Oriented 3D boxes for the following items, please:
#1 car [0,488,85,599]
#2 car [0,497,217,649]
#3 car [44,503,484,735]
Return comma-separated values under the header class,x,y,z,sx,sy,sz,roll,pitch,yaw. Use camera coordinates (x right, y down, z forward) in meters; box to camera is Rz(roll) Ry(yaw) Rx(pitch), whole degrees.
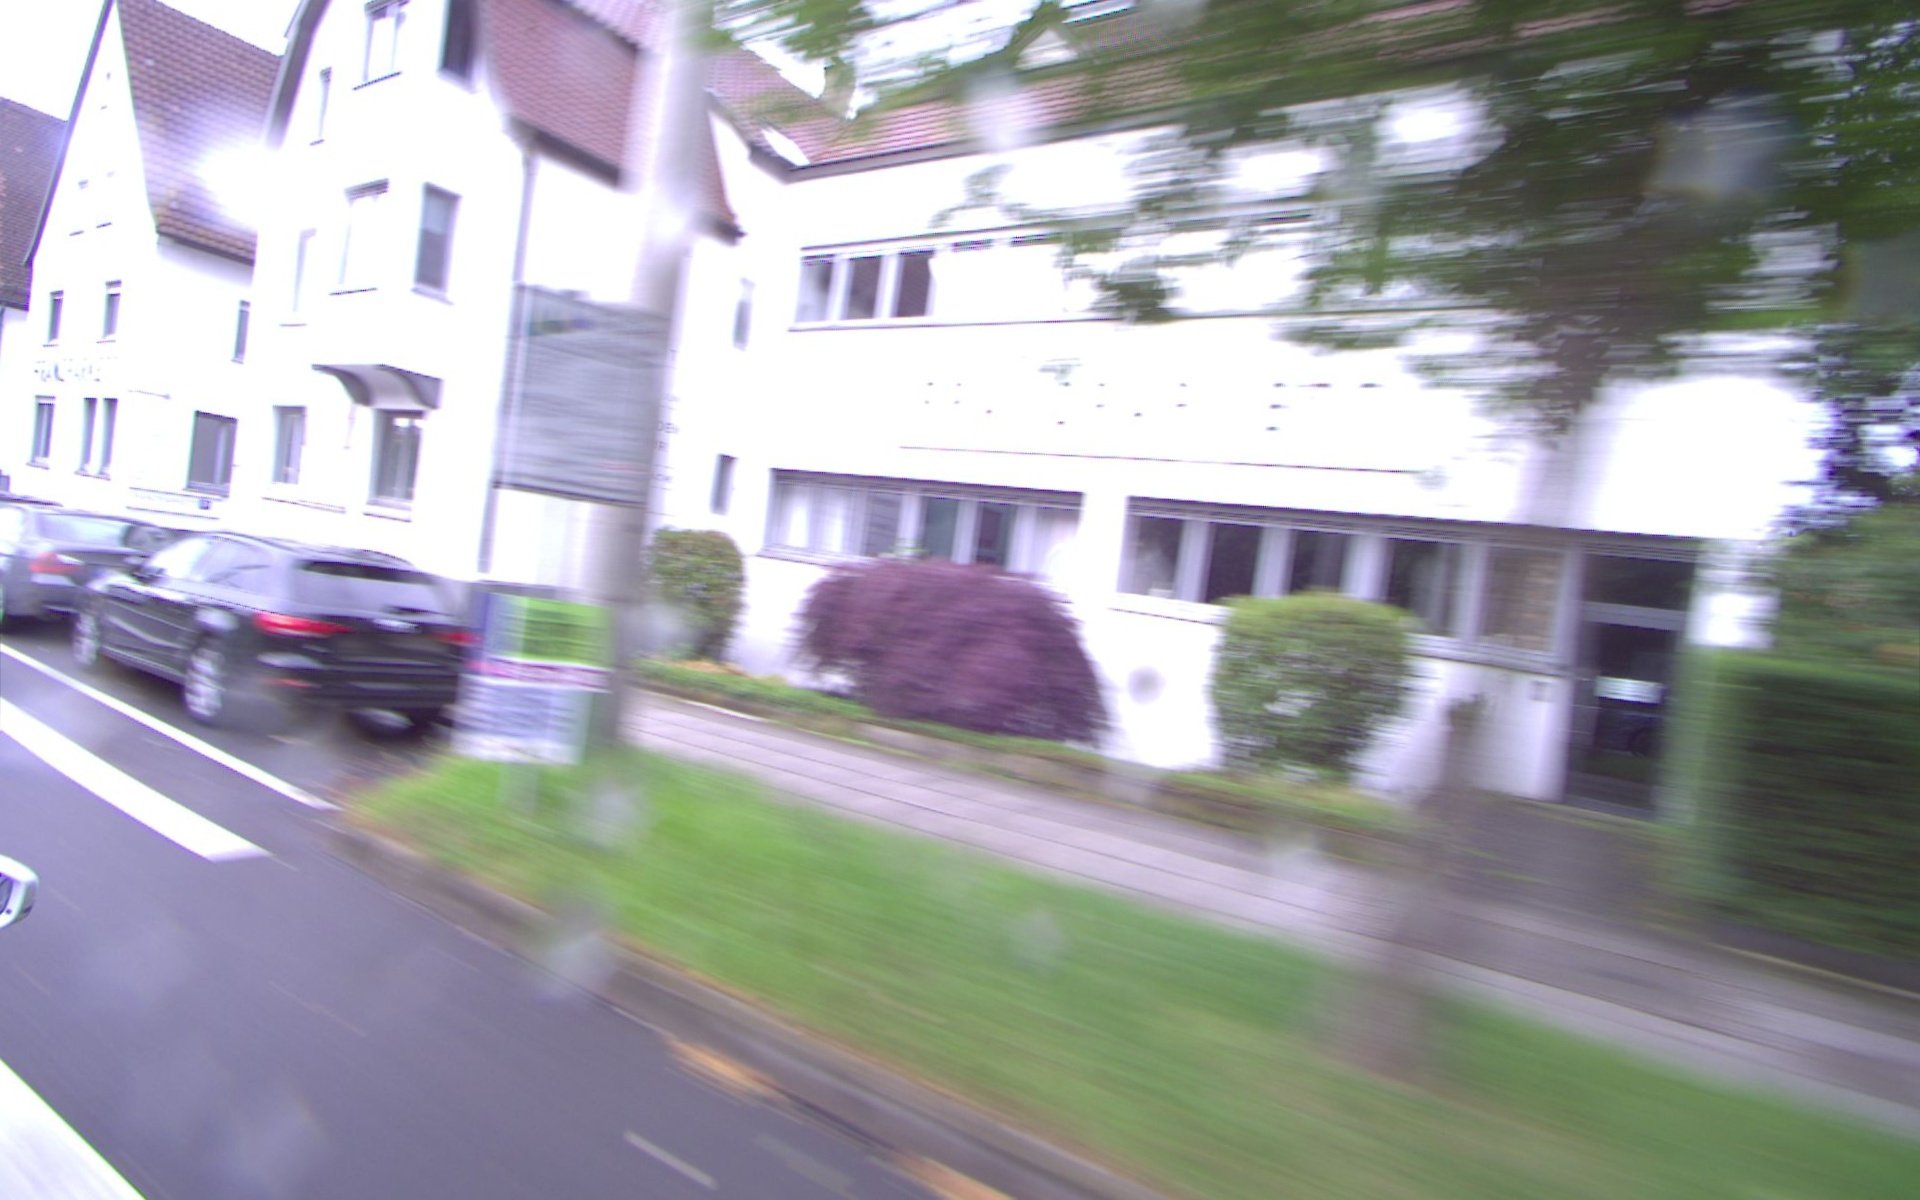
class,x,y,z,sx,sy,sz,roll,pitch,yaw
car,-14.745,-0.959,15.078,3.662,1.469,1.578,6,0,36
car,-10.948,-0.437,12.179,4.493,1.429,1.713,7,0,35
car,-6.356,0.089,9.000,4.493,1.440,1.678,7,-1,35
